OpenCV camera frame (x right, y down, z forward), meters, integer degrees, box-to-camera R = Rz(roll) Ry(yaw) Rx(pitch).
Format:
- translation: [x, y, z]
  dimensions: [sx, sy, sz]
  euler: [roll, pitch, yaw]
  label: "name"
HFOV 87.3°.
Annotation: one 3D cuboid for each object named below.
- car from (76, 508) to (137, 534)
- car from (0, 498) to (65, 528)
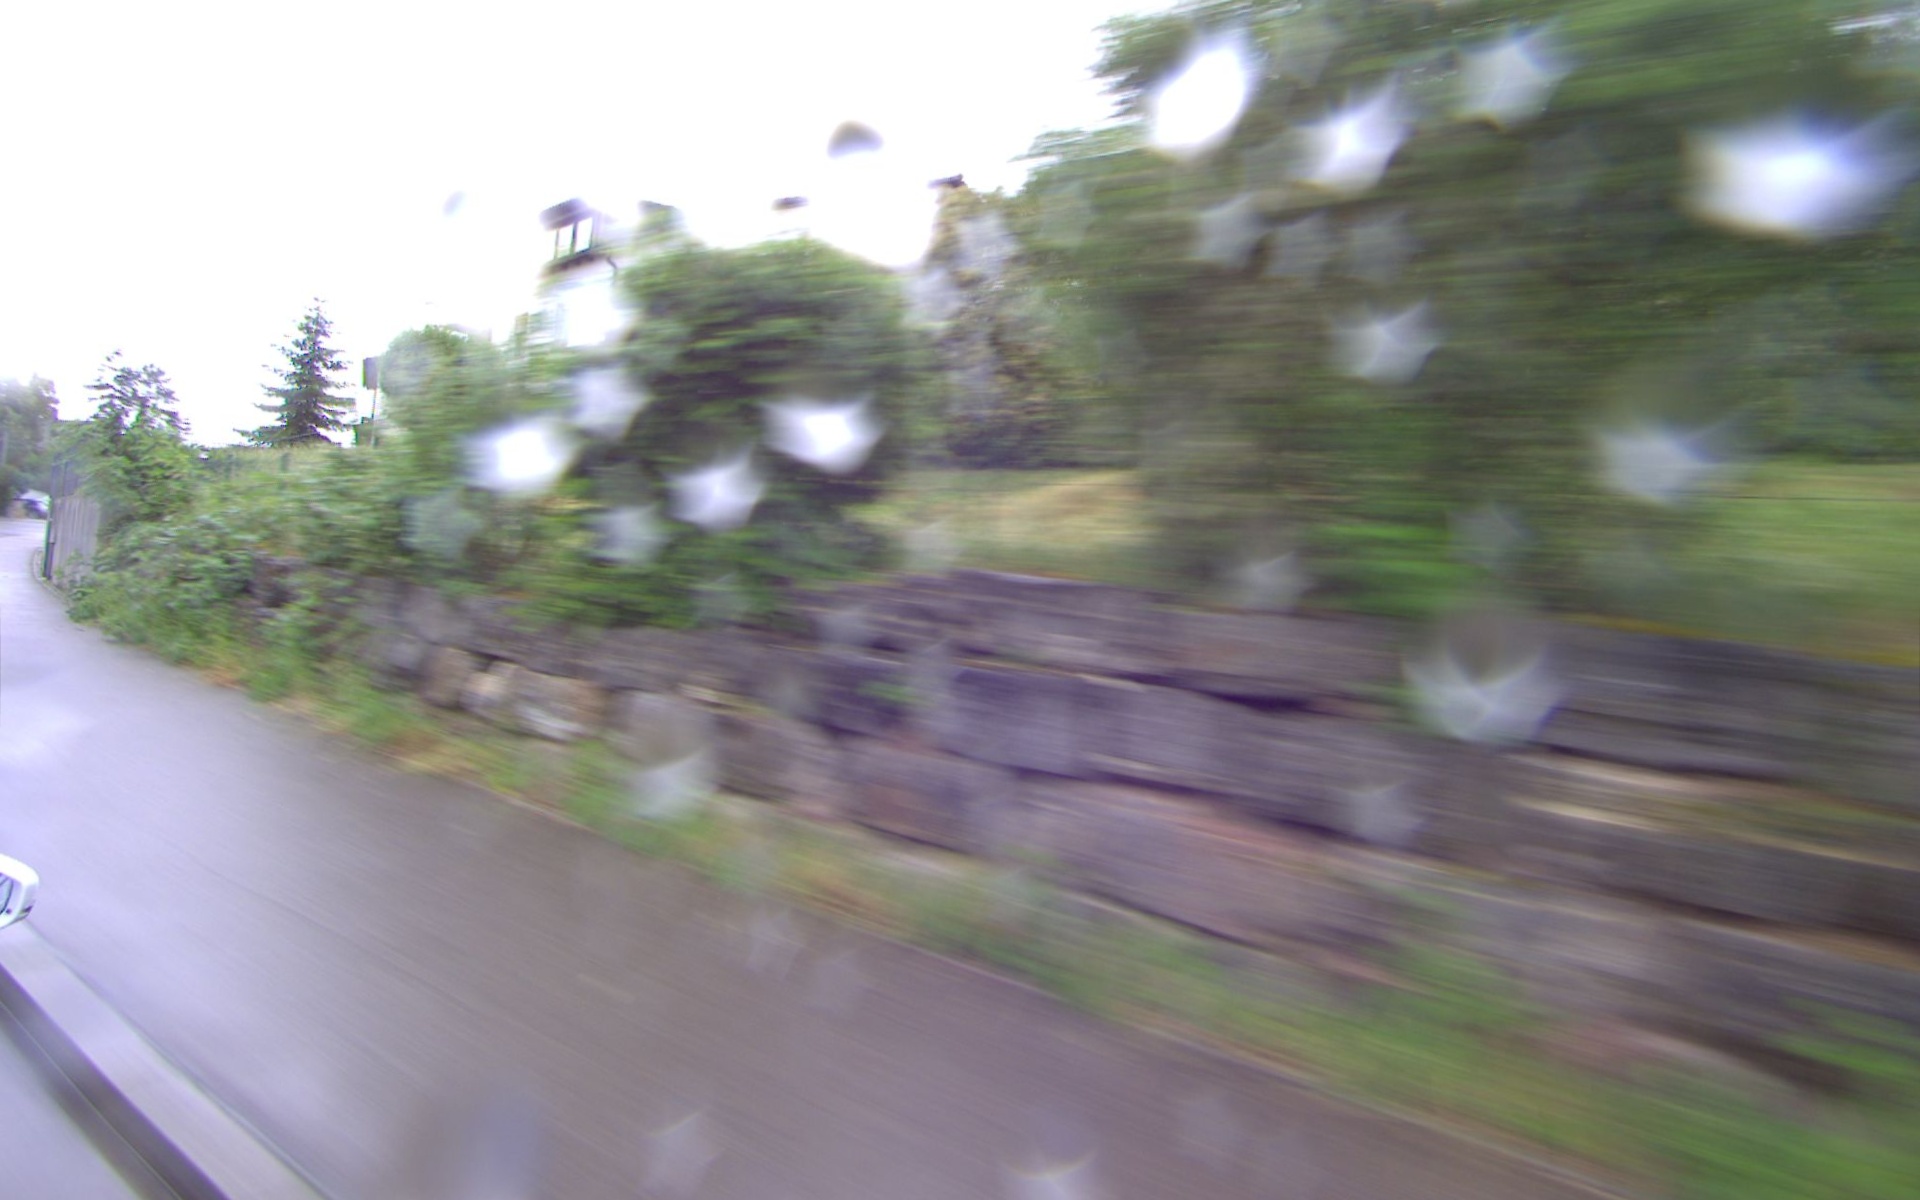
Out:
- translation: [-65.448, -6.046, 77.228]
  dimensions: [1.970, 1.477, 3.987]
  euler: [8, -1, -17]
  label: "car"
- translation: [-63.717, -5.989, 68.218]
  dimensions: [3.944, 1.477, 1.894]
  euler: [8, -1, -19]
  label: "car"
